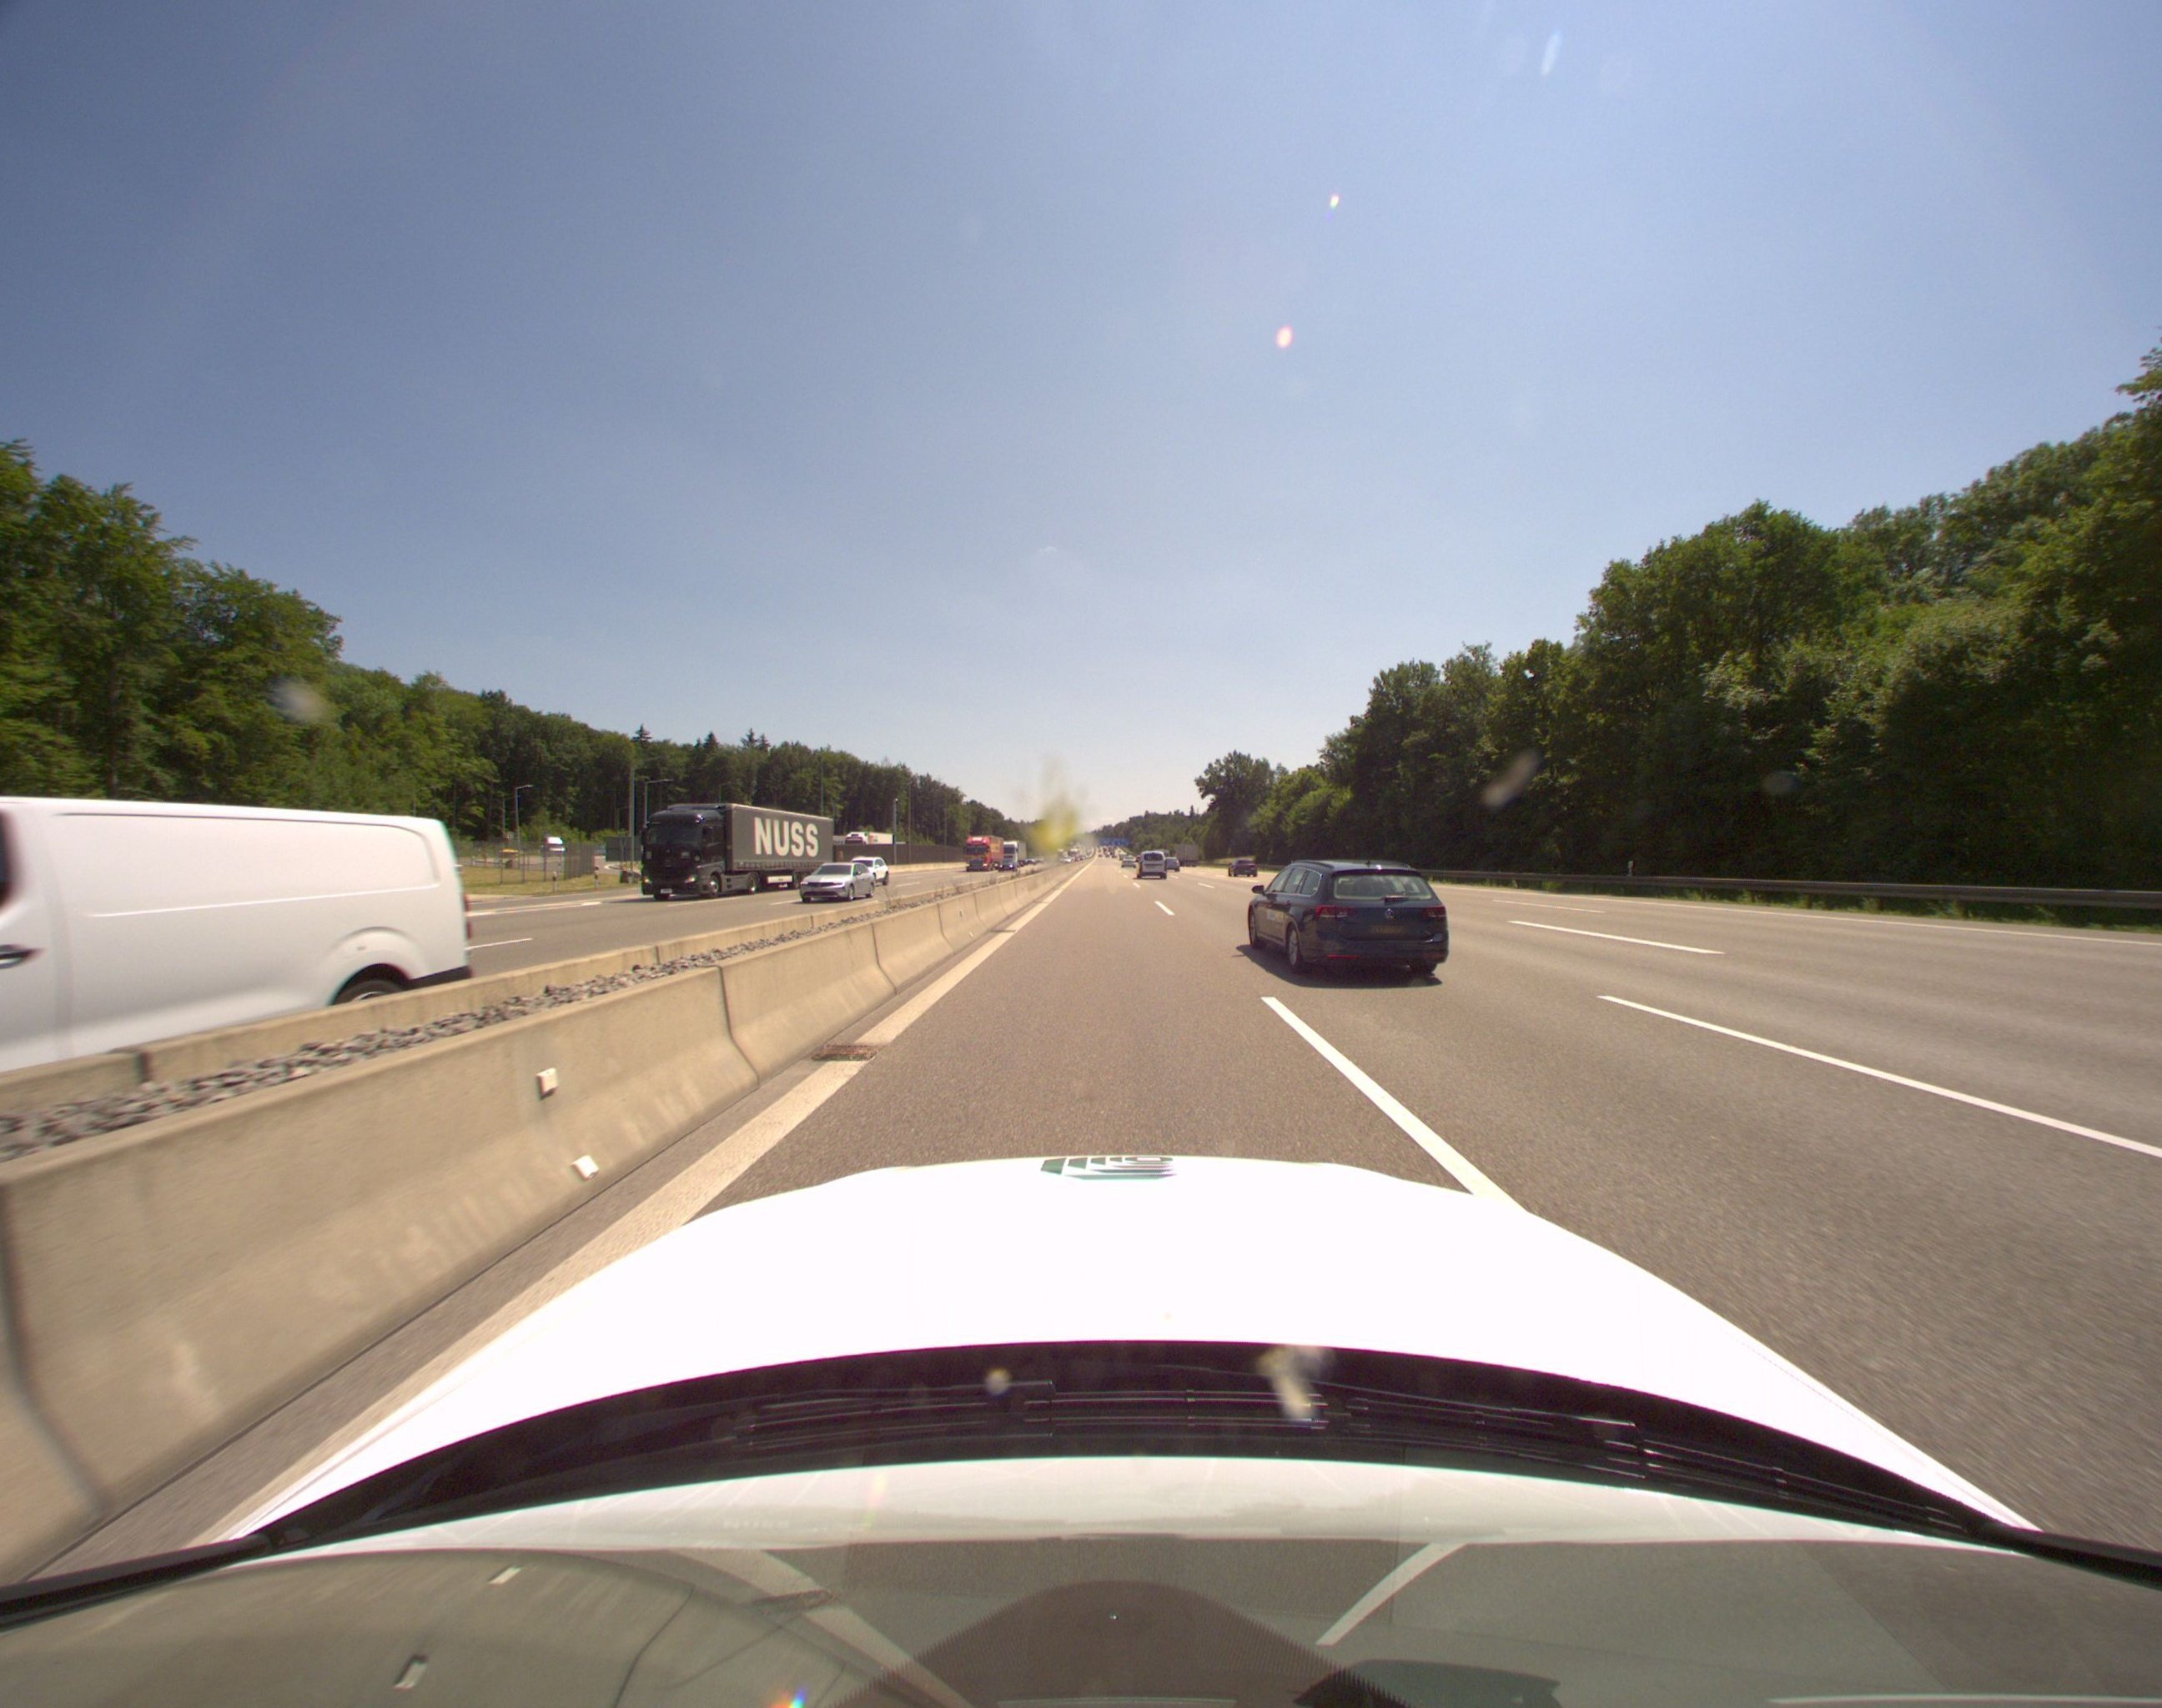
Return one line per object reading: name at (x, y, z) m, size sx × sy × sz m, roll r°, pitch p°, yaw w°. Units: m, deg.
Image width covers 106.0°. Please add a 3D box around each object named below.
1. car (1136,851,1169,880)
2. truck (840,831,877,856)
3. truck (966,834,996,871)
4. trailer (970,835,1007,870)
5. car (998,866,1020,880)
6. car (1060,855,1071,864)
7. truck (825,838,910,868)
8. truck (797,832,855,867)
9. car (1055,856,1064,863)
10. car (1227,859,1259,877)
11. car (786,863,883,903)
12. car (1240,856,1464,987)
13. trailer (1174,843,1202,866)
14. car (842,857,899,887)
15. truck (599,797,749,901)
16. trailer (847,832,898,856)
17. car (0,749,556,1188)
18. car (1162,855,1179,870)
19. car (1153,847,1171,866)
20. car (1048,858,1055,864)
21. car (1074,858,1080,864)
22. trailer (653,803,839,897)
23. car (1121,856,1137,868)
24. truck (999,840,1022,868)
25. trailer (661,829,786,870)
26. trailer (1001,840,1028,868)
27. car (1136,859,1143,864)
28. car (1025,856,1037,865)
car at (4.692, 0.720, 54.187) m, size 1.853 × 1.826 × 4.612 m, roll 0°, pitch 0°, yaw 1°
truck at (-28.516, -1.270, 104.617) m, size 2.916 × 3.124 × 6.204 m, roll 0°, pitch 0°, yaw 1°
truck at (-11.335, -0.160, 92.780) m, size 2.519 × 4.049 × 6.473 m, roll 0°, pitch 0°, yaw 1°
trailer at (-11.203, -0.161, 99.740) m, size 2.562 × 4.050 × 14.185 m, roll 0°, pitch 0°, yaw 1°
car at (-7.621, 1.969, 86.177) m, size 1.814 × 1.387 × 4.317 m, roll 0°, pitch 0°, yaw 1°
car at (-2.987, 1.153, 161.401) m, size 1.986 × 1.774 × 5.040 m, roll 0°, pitch 0°, yaw 1°
truck at (-42.414, -0.194, 162.716) m, size 16.806 × 5.613 × 3.408 m, roll 0°, pitch 0°, yaw -44°
truck at (-41.945, -0.642, 134.175) m, size 8.537 × 5.613 × 3.188 m, roll 0°, pitch -1°, yaw -45°
car at (-5.197, 1.291, 196.548) m, size 1.986 × 1.774 × 5.925 m, roll 0°, pitch 0°, yaw 1°
car at (12.412, 1.029, 62.594) m, size 1.664 × 1.273 × 4.291 m, roll 1°, pitch 0°, yaw 1°
car at (-9.207, 1.046, 30.915) m, size 1.986 × 1.377 × 5.012 m, roll -1°, pitch 0°, yaw 2°
car at (3.559, 0.775, 11.732) m, size 1.723 × 1.447 × 4.963 m, roll -1°, pitch 0°, yaw 2°
trailer at (19.136, -0.014, 146.813) m, size 3.276 × 3.930 × 13.892 m, roll 2°, pitch 1°, yaw 1°
car at (-12.289, 1.021, 47.810) m, size 1.986 × 1.670 × 4.613 m, roll -1°, pitch 0°, yaw 1°
truck at (-16.598, -0.171, 33.712) m, size 3.276 × 3.931 × 5.540 m, roll 0°, pitch 0°, yaw 1°
trailer at (-28.422, -1.265, 111.814) m, size 2.961 × 3.124 × 14.612 m, roll 0°, pitch 0°, yaw 1°
car at (-6.045, 0.547, 4.792) m, size 2.069 × 2.044 × 5.713 m, roll -1°, pitch 0°, yaw 1°
car at (9.034, 0.829, 82.260) m, size 1.497 × 1.500 × 3.651 m, roll -1°, pitch 0°, yaw 2°
car at (11.525, 0.280, 116.078) m, size 2.136 × 2.652 × 5.711 m, roll 1°, pitch 1°, yaw 1°
car at (-8.375, 1.920, 229.101) m, size 1.724 × 1.513 × 4.171 m, roll 0°, pitch 0°, yaw 1°
car at (-1.194, 2.074, 241.032) m, size 1.724 × 1.513 × 5.045 m, roll 0°, pitch 0°, yaw 1°
trailer at (-16.450, -0.147, 41.971) m, size 3.330 × 4.001 × 14.282 m, roll -1°, pitch 0°, yaw 1°
car at (6.236, 1.042, 106.581) m, size 1.836 × 1.629 × 4.554 m, roll -1°, pitch 0°, yaw 1°
truck at (-10.402, 0.053, 120.931) m, size 2.725 × 4.031 × 6.783 m, roll -1°, pitch 0°, yaw 1°
trailer at (-46.089, -0.524, 105.726) m, size 14.650 × 5.072 × 3.091 m, roll 0°, pitch 0°, yaw -44°
trailer at (-10.275, 0.021, 127.368) m, size 2.744 × 4.001 × 14.470 m, roll 0°, pitch 0°, yaw 1°
car at (16.511, 2.136, 231.341) m, size 1.829 × 1.338 × 3.644 m, roll -1°, pitch 0°, yaw 1°
car at (-9.667, 1.208, 158.474) m, size 1.986 × 1.774 × 5.040 m, roll 0°, pitch 0°, yaw 1°
